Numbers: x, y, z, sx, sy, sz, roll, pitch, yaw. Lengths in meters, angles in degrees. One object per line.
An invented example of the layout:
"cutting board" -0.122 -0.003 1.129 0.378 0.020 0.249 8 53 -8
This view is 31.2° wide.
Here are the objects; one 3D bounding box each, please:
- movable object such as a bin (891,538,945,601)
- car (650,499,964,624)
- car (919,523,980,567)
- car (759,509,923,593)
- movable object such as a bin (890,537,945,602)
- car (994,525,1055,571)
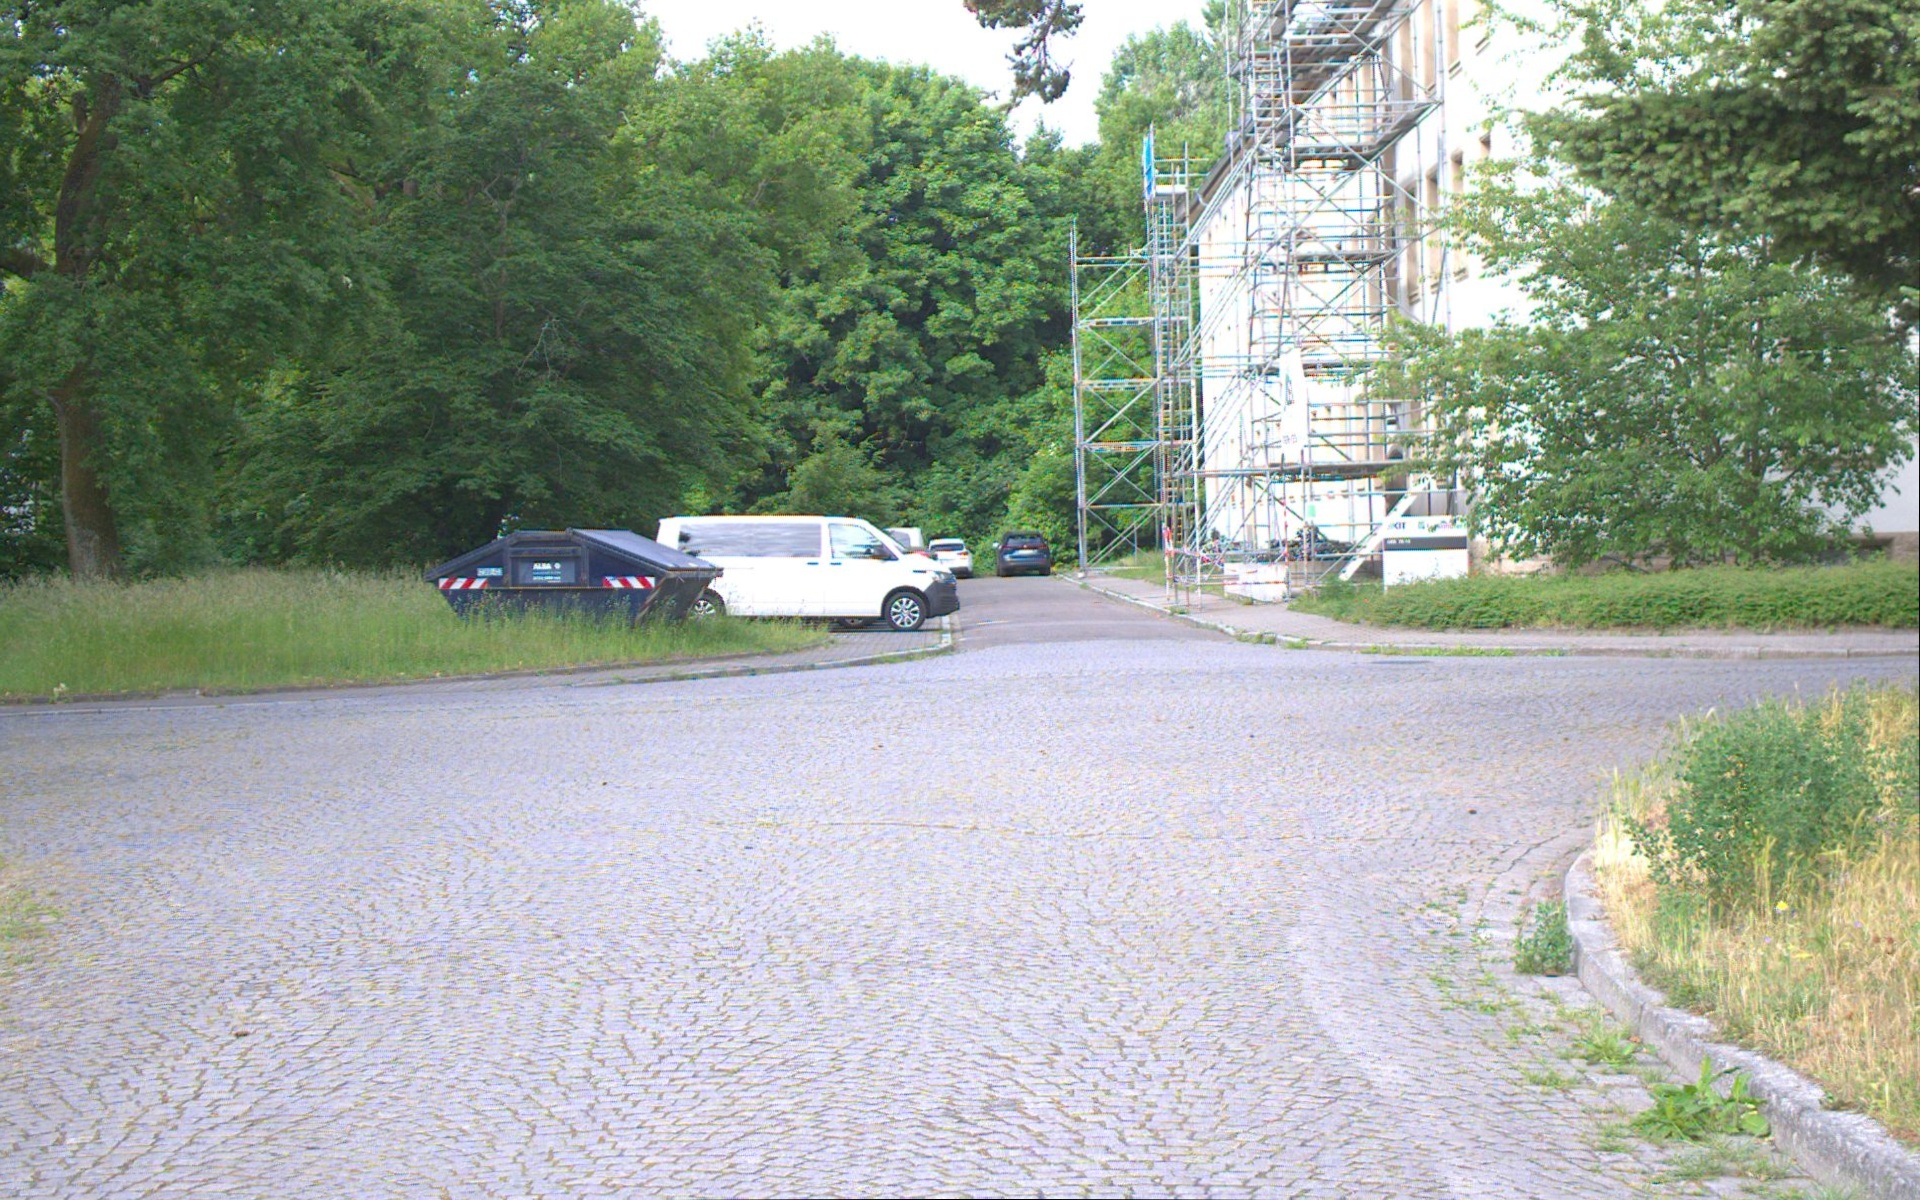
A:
"movable object such as a bin" -0.951 -0.697 77.858 1.183 1.402 0.975 1 0 1
"car" -2.552 -0.653 58.224 5.200 2.053 2.188 0 0 -1
"car" -0.408 -1.969 124.270 2.001 1.542 3.959 1 0 -3
"car" -2.980 -1.218 85.724 3.986 2.007 1.922 1 0 -4
"movable object such as a bin" -0.935 -0.679 76.703 1.183 1.402 0.975 1 0 1
"car" 2.351 -1.857 124.480 2.063 1.588 4.000 1 0 3
